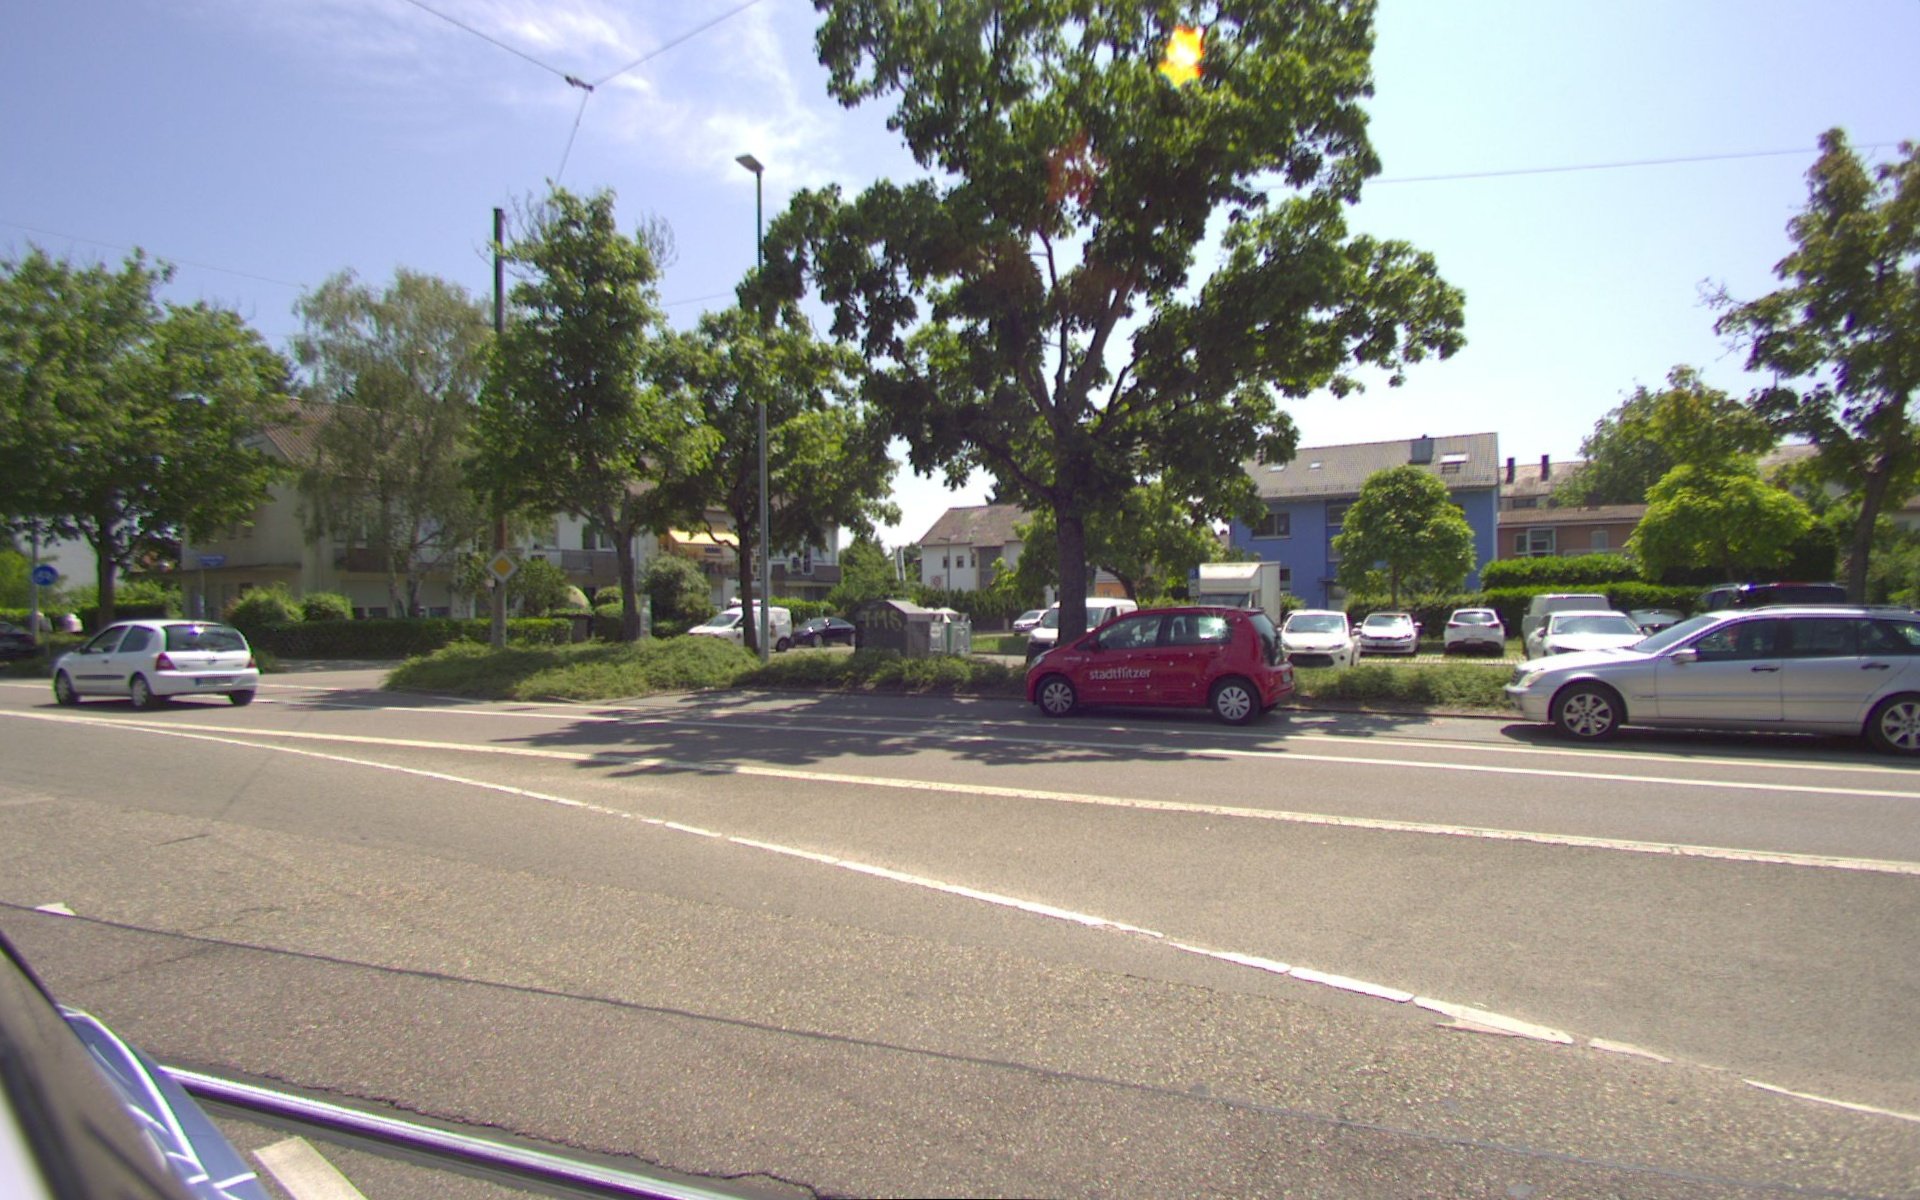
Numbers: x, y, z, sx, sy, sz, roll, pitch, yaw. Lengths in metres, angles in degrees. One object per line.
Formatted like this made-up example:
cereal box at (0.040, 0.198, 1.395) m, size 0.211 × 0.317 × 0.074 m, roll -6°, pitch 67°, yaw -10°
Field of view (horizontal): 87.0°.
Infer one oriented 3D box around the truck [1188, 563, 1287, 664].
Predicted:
truck at (10.039, 0.434, 36.180) m, size 2.139 × 3.252 × 6.938 m, roll -1°, pitch -1°, yaw 26°

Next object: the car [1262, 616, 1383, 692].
car at (8.211, 1.136, 22.705) m, size 1.923 × 1.520 × 4.095 m, roll -1°, pitch -1°, yaw 29°

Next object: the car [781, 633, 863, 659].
car at (-6.153, 2.035, 45.505) m, size 1.543 × 1.000 × 3.703 m, roll -2°, pitch -1°, yaw 36°

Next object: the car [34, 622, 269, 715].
car at (-13.414, 1.061, 16.771) m, size 3.792 × 1.387 × 1.638 m, roll -1°, pitch -2°, yaw 27°

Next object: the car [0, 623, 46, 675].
car at (-30.167, 1.500, 30.722) m, size 4.781 × 1.467 × 1.885 m, roll -1°, pitch 0°, yaw 25°

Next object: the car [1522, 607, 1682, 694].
car at (12.521, 0.917, 20.064) m, size 2.047 × 1.500 × 4.736 m, roll -1°, pitch -1°, yaw 25°

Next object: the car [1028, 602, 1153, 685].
car at (3.272, 1.011, 24.730) m, size 1.665 × 1.849 × 4.240 m, roll -1°, pitch -1°, yaw 28°

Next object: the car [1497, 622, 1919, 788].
car at (8.419, 1.021, 10.678) m, size 4.744 × 1.437 × 1.710 m, roll -1°, pitch 2°, yaw 26°

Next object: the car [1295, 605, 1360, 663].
car at (12.599, 1.109, 34.564) m, size 1.638 × 1.834 × 4.104 m, roll -1°, pitch 0°, yaw 26°

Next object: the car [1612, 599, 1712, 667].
car at (20.334, 0.894, 29.485) m, size 1.730 × 1.834 × 4.104 m, roll -1°, pitch 0°, yaw 26°

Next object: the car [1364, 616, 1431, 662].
car at (14.551, 1.263, 33.522) m, size 1.808 × 1.343 × 4.104 m, roll -1°, pitch 0°, yaw 26°

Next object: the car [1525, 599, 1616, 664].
car at (18.402, 0.894, 30.673) m, size 1.960 × 1.834 × 4.104 m, roll -1°, pitch 0°, yaw 26°

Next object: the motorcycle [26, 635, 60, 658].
motorcycle at (-35.504, 1.808, 39.166) m, size 1.364 × 0.832 × 0.523 m, roll -1°, pitch 2°, yaw 28°

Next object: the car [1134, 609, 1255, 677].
car at (5.501, 0.936, 23.348) m, size 2.067 × 1.414 × 4.177 m, roll -1°, pitch -1°, yaw 23°

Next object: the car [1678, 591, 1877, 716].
car at (14.797, 0.913, 18.600) m, size 1.846 × 2.010 × 4.187 m, roll -1°, pitch -1°, yaw 25°

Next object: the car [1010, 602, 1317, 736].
car at (2.698, 0.830, 13.555) m, size 3.711 × 1.558 × 1.661 m, roll -1°, pitch 0°, yaw 30°

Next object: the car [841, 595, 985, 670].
car at (-1.192, 0.866, 27.688) m, size 2.050 × 1.871 × 4.422 m, roll -1°, pitch -1°, yaw 27°

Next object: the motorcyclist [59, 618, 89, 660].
motorcyclist at (-33.155, 1.443, 37.864) m, size 0.659 × 1.514 × 0.583 m, roll -1°, pitch 1°, yaw 28°

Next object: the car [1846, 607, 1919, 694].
car at (16.925, 0.819, 17.063) m, size 1.846 × 1.422 × 4.187 m, roll -1°, pitch -1°, yaw 25°

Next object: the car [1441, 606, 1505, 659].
car at (16.585, 1.019, 32.816) m, size 1.724 × 1.588 × 3.726 m, roll -1°, pitch 0°, yaw 26°

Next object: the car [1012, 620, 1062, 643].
car at (4.721, 1.877, 61.597) m, size 1.539 × 1.339 × 3.869 m, roll -1°, pitch -1°, yaw 29°

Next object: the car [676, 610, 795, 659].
car at (-8.328, 1.259, 37.806) m, size 1.739 × 1.719 × 4.181 m, roll -2°, pitch -2°, yaw 38°

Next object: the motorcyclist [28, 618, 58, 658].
motorcyclist at (-35.456, 1.468, 39.122) m, size 0.722 × 1.514 × 0.583 m, roll -1°, pitch 1°, yaw 28°
